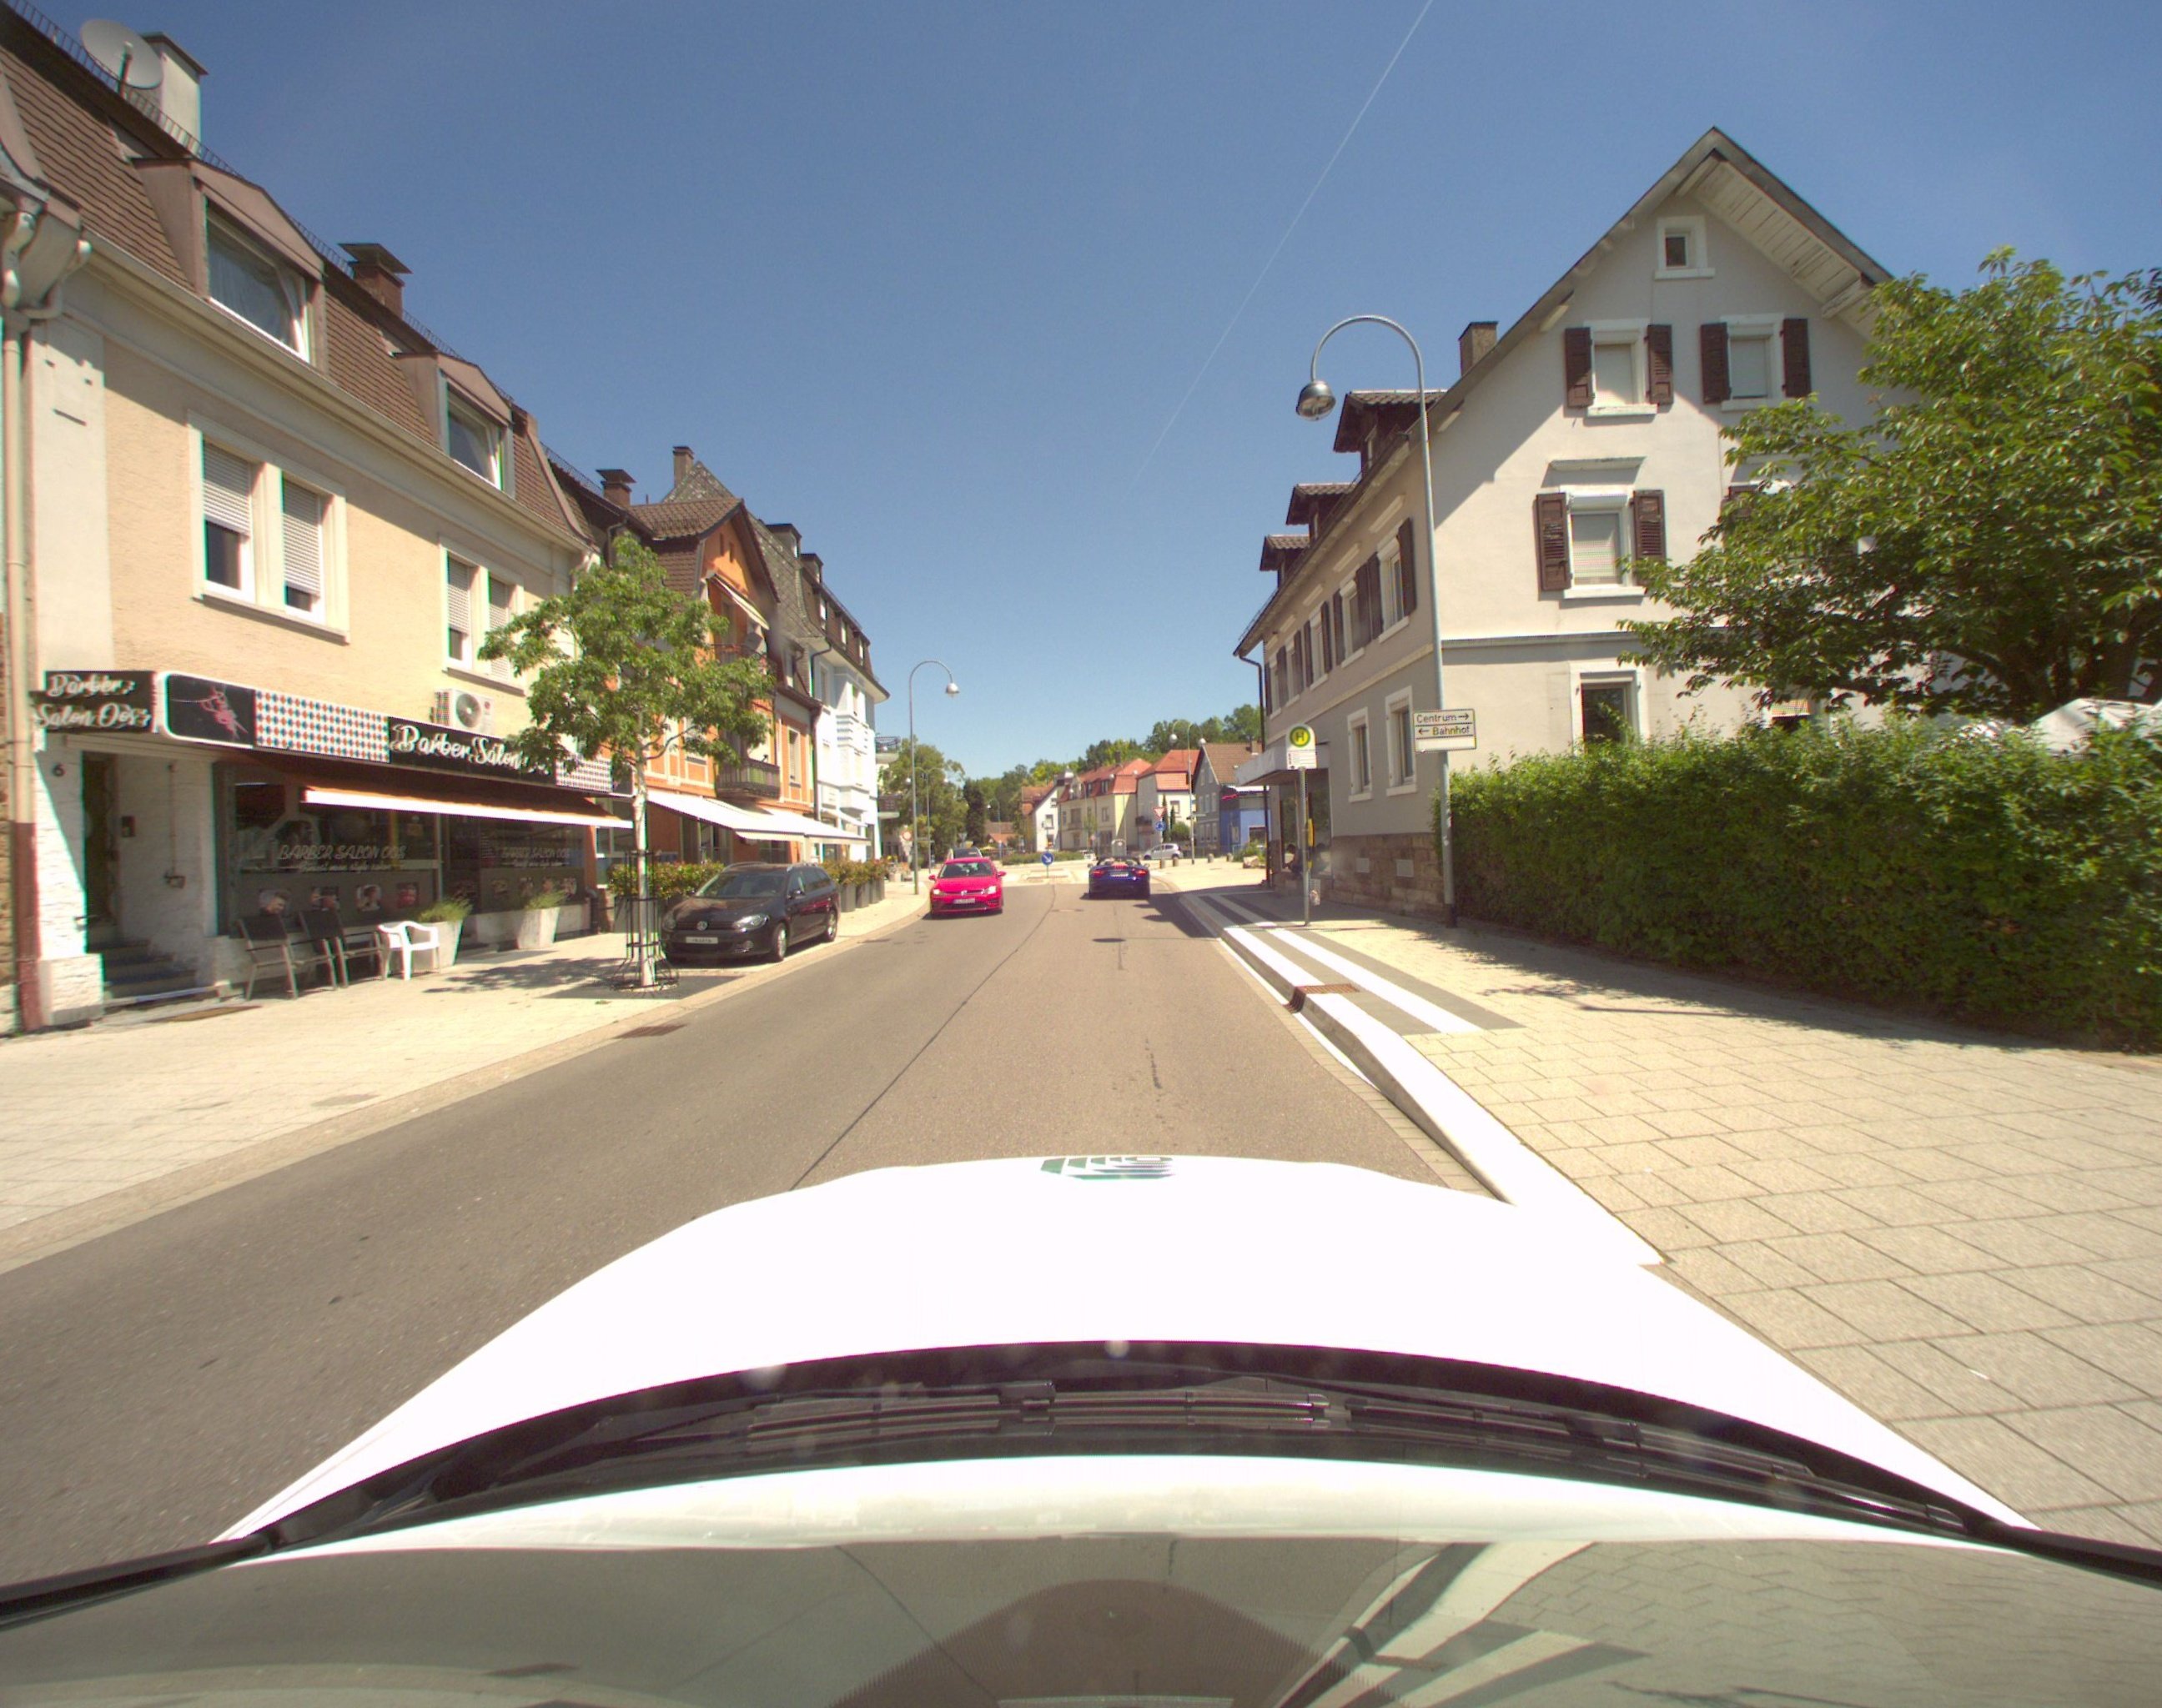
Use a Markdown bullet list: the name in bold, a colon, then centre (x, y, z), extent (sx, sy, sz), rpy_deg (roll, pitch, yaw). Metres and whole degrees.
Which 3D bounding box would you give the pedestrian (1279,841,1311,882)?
- **pedestrian**: centre (5.546, 0.192, 21.157), extent (0.588, 0.999, 0.724), rpy_deg (-3, 0, 0)

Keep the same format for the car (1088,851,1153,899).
- **car**: centre (1.251, 0.624, 26.215), extent (1.903, 1.360, 4.288), rpy_deg (-1, 0, 2)

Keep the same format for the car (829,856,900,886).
- **car**: centre (-14.533, 1.123, 54.604), extent (4.186, 1.875, 1.770), rpy_deg (-1, 1, 14)

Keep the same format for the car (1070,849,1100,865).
- **car**: centre (0.380, 0.340, 88.528), extent (1.924, 1.613, 4.121), rpy_deg (-3, -1, -19)

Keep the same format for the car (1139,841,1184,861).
- **car**: centre (6.704, -0.255, 67.605), extent (3.432, 1.450, 1.587), rpy_deg (-3, 0, 16)

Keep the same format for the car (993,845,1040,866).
- **car**: centre (-4.749, 0.136, 59.541), extent (2.004, 1.329, 4.164), rpy_deg (-3, 0, -26)

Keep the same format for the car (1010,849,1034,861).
- **car**: centre (-8.375, 0.154, 115.966), extent (1.861, 1.588, 3.962), rpy_deg (-4, 0, -29)

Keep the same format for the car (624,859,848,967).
- **car**: centre (-5.530, 0.850, 13.764), extent (1.909, 1.481, 4.337), rpy_deg (0, 0, 0)

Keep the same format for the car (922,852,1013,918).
- **car**: centre (-2.887, 0.740, 21.569), extent (1.911, 1.426, 3.976), rpy_deg (-4, 0, -2)

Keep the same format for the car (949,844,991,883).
- **car**: centre (-5.848, 0.468, 42.882), extent (1.993, 1.822, 4.403), rpy_deg (-4, 0, -8)
